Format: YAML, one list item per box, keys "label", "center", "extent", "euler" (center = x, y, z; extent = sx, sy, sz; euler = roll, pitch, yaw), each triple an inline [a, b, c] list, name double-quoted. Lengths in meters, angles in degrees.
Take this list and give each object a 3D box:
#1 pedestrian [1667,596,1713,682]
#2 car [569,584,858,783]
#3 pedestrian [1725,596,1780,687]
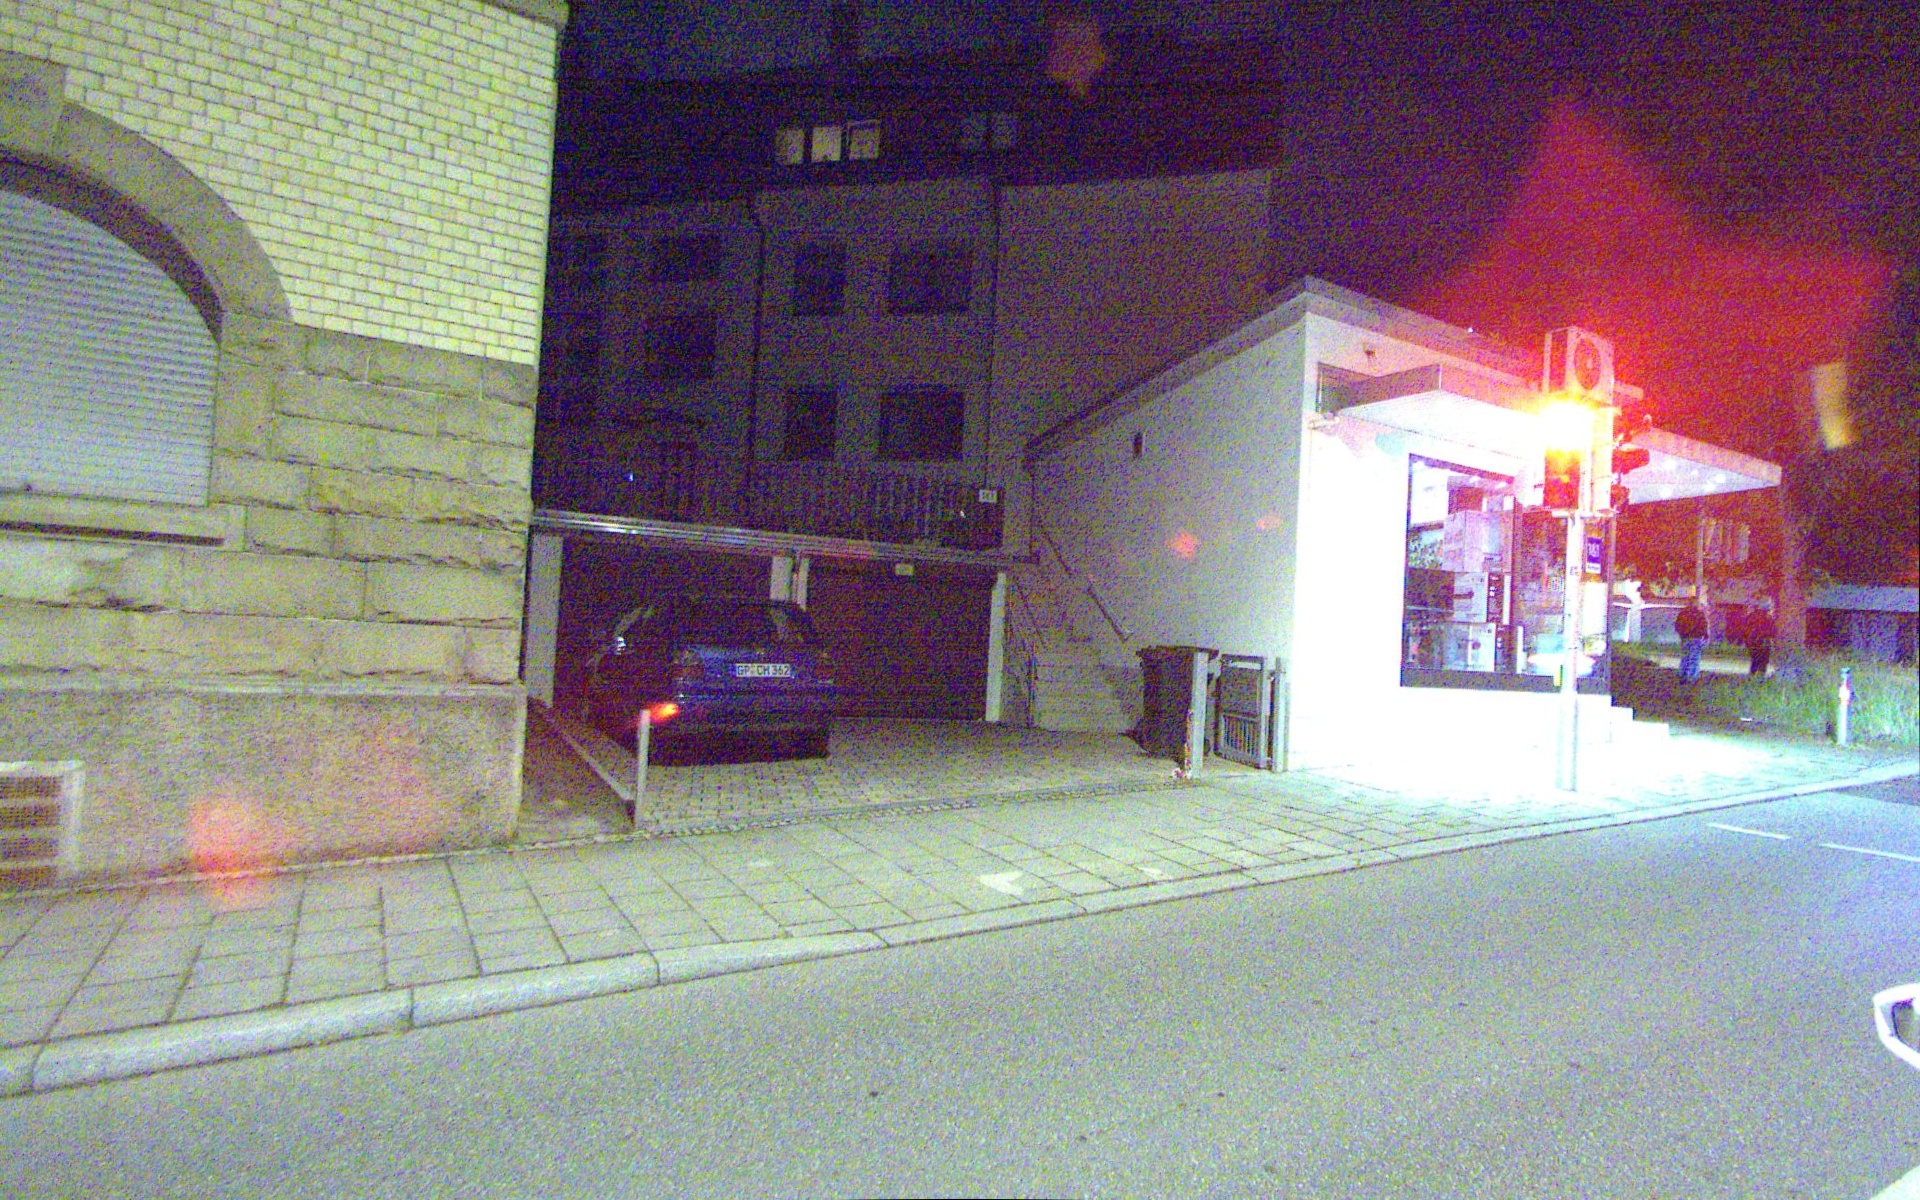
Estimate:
- label: "pedestrian"
  center: [15.248, 0.811, 20.980]
  extent: [0.537, 1.754, 0.567]
  euler: [2, 0, -30]
- label: "car"
  center: [-2.512, 0.628, 9.559]
  extent: [1.700, 1.460, 3.631]
  euler: [2, 1, -30]
- label: "pedestrian"
  center: [16.182, 0.842, 20.519]
  extent: [0.729, 1.801, 0.567]
  euler: [2, 2, -30]
